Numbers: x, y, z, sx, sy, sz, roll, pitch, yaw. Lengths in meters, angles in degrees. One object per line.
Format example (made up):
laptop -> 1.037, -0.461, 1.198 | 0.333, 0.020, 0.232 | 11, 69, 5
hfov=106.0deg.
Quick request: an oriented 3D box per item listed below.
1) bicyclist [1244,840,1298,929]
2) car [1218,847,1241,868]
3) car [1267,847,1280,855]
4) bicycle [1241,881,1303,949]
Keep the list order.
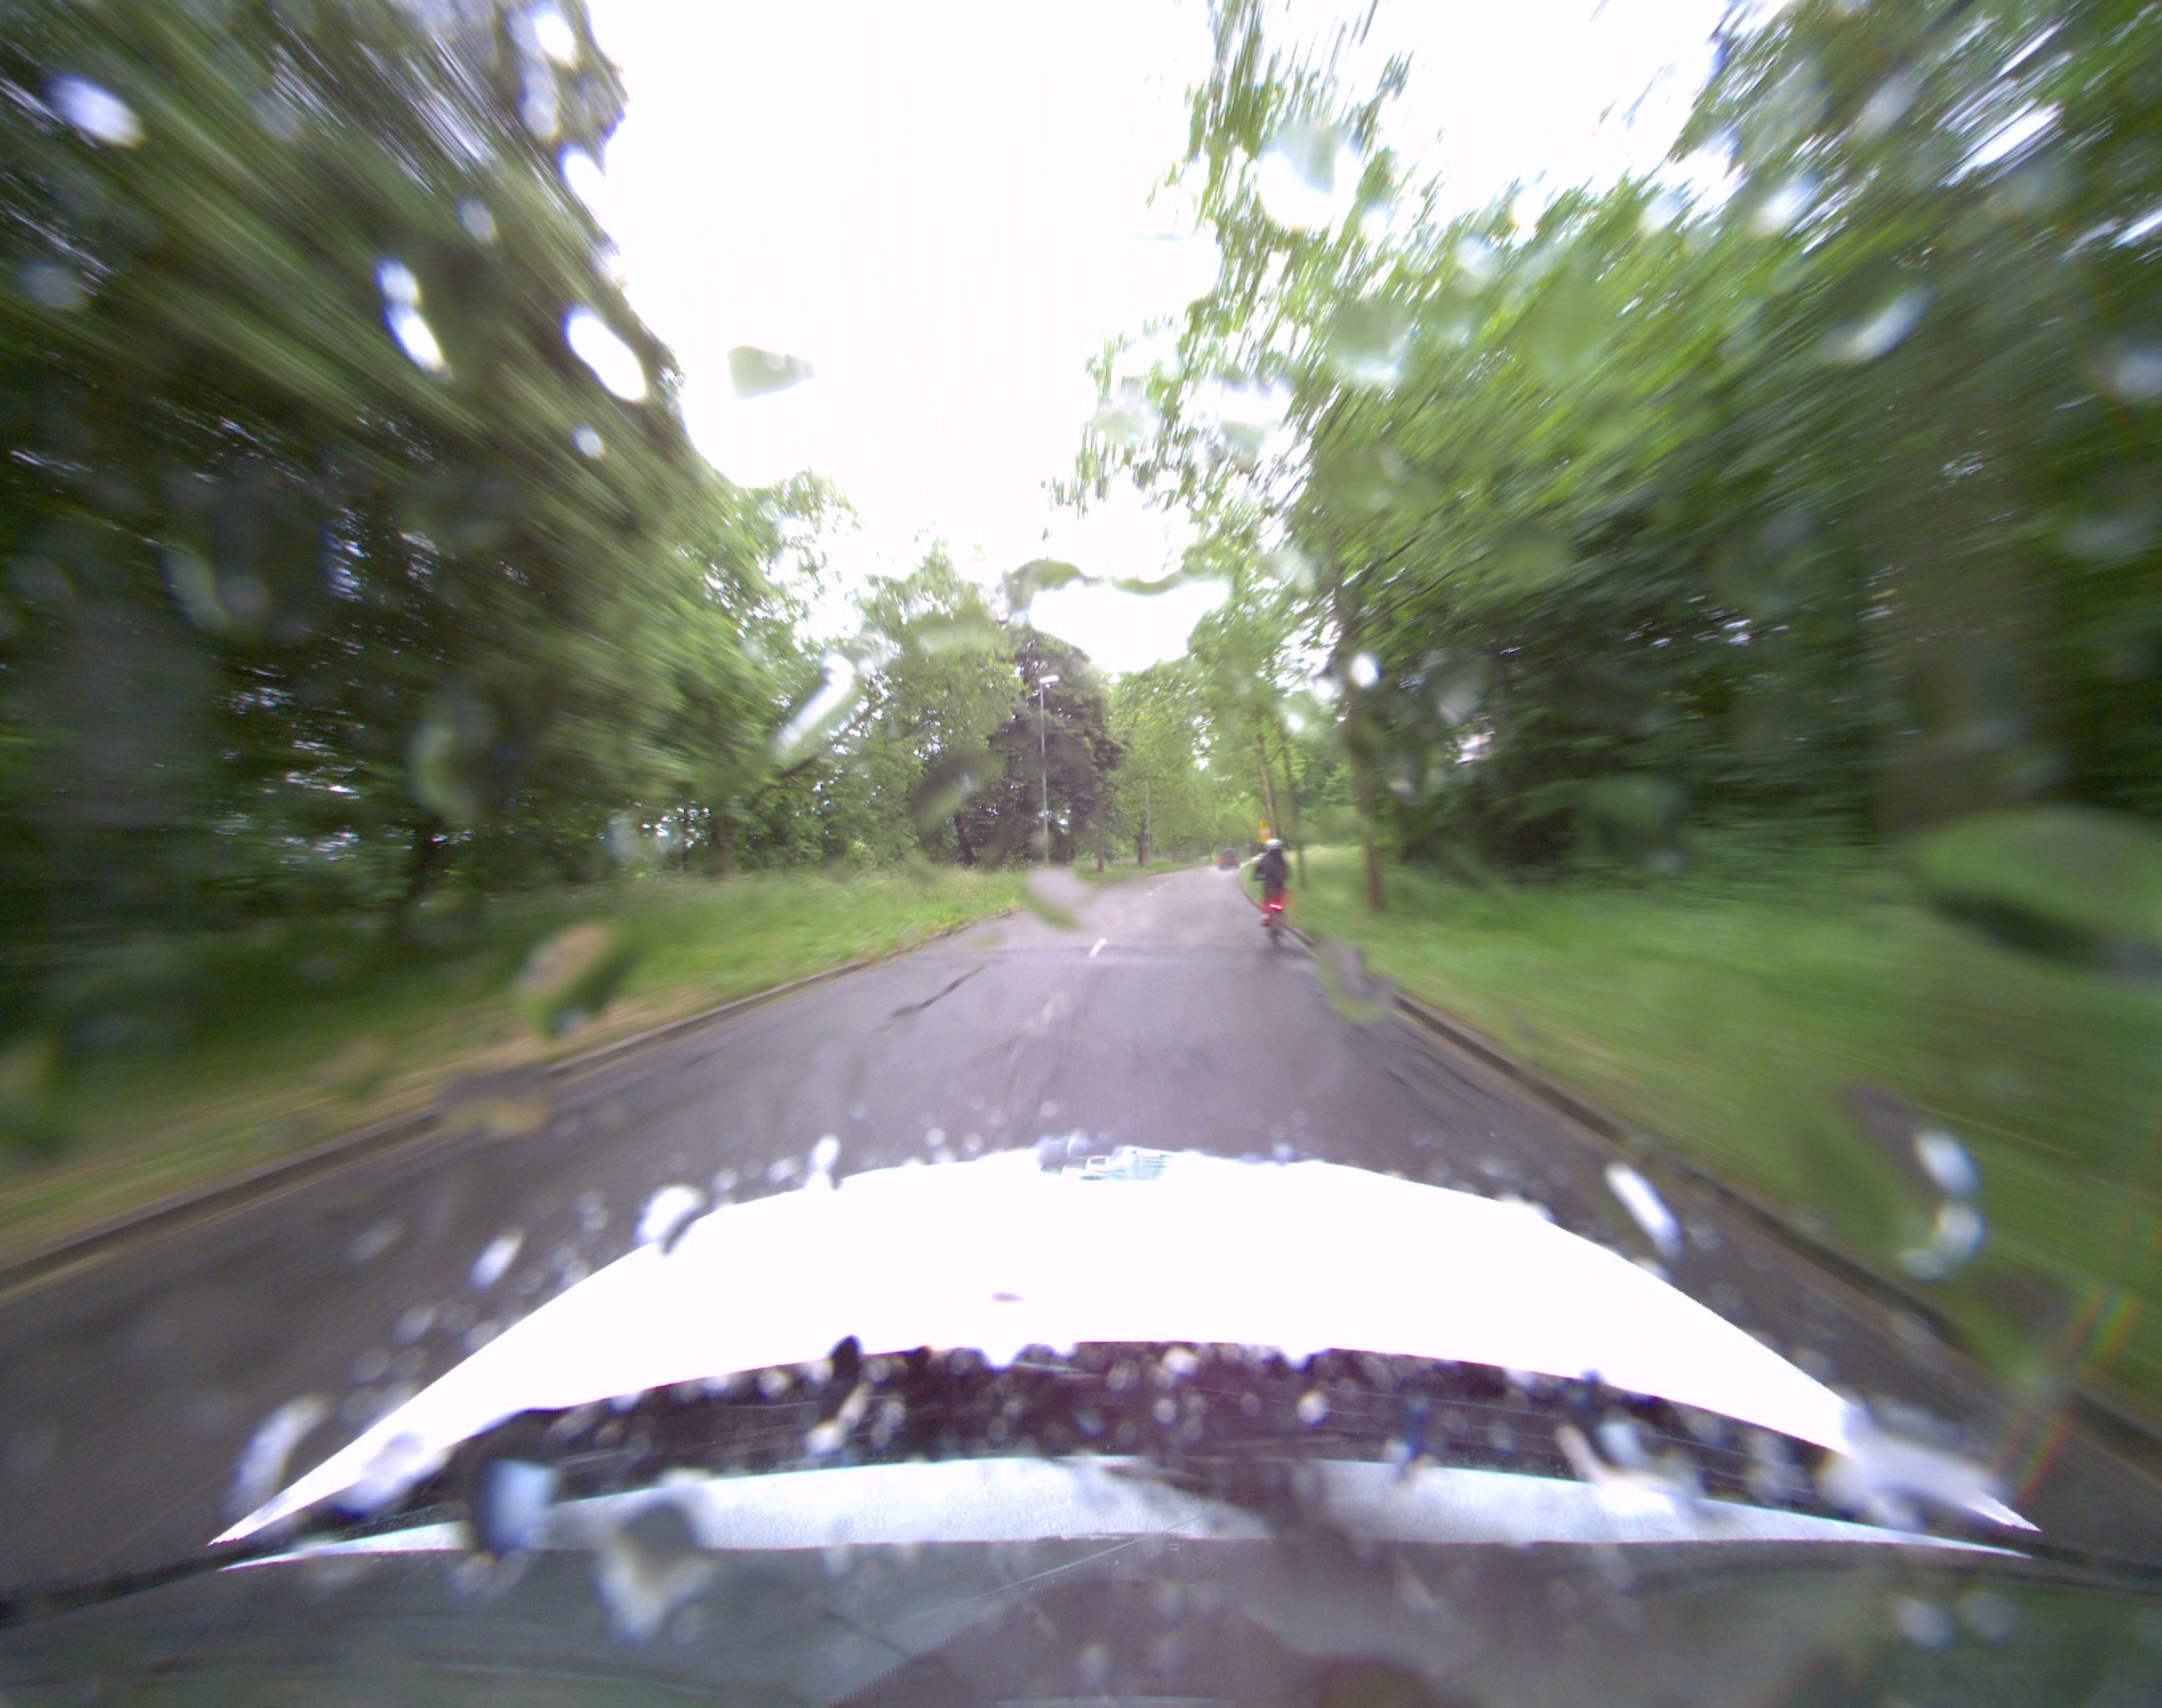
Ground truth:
bicyclist -> 3.110, 0.484, 13.394 | 0.726, 1.411, 0.975 | -1, 0, 6
car -> 14.002, 0.309, 76.615 | 1.972, 1.926, 4.014 | -2, 0, 12
car -> 38.125, -0.677, 161.278 | 1.778, 1.510, 4.023 | -1, 0, 25
bicycle -> 3.131, 0.971, 13.539 | 0.726, 0.974, 2.177 | -1, 0, 6
